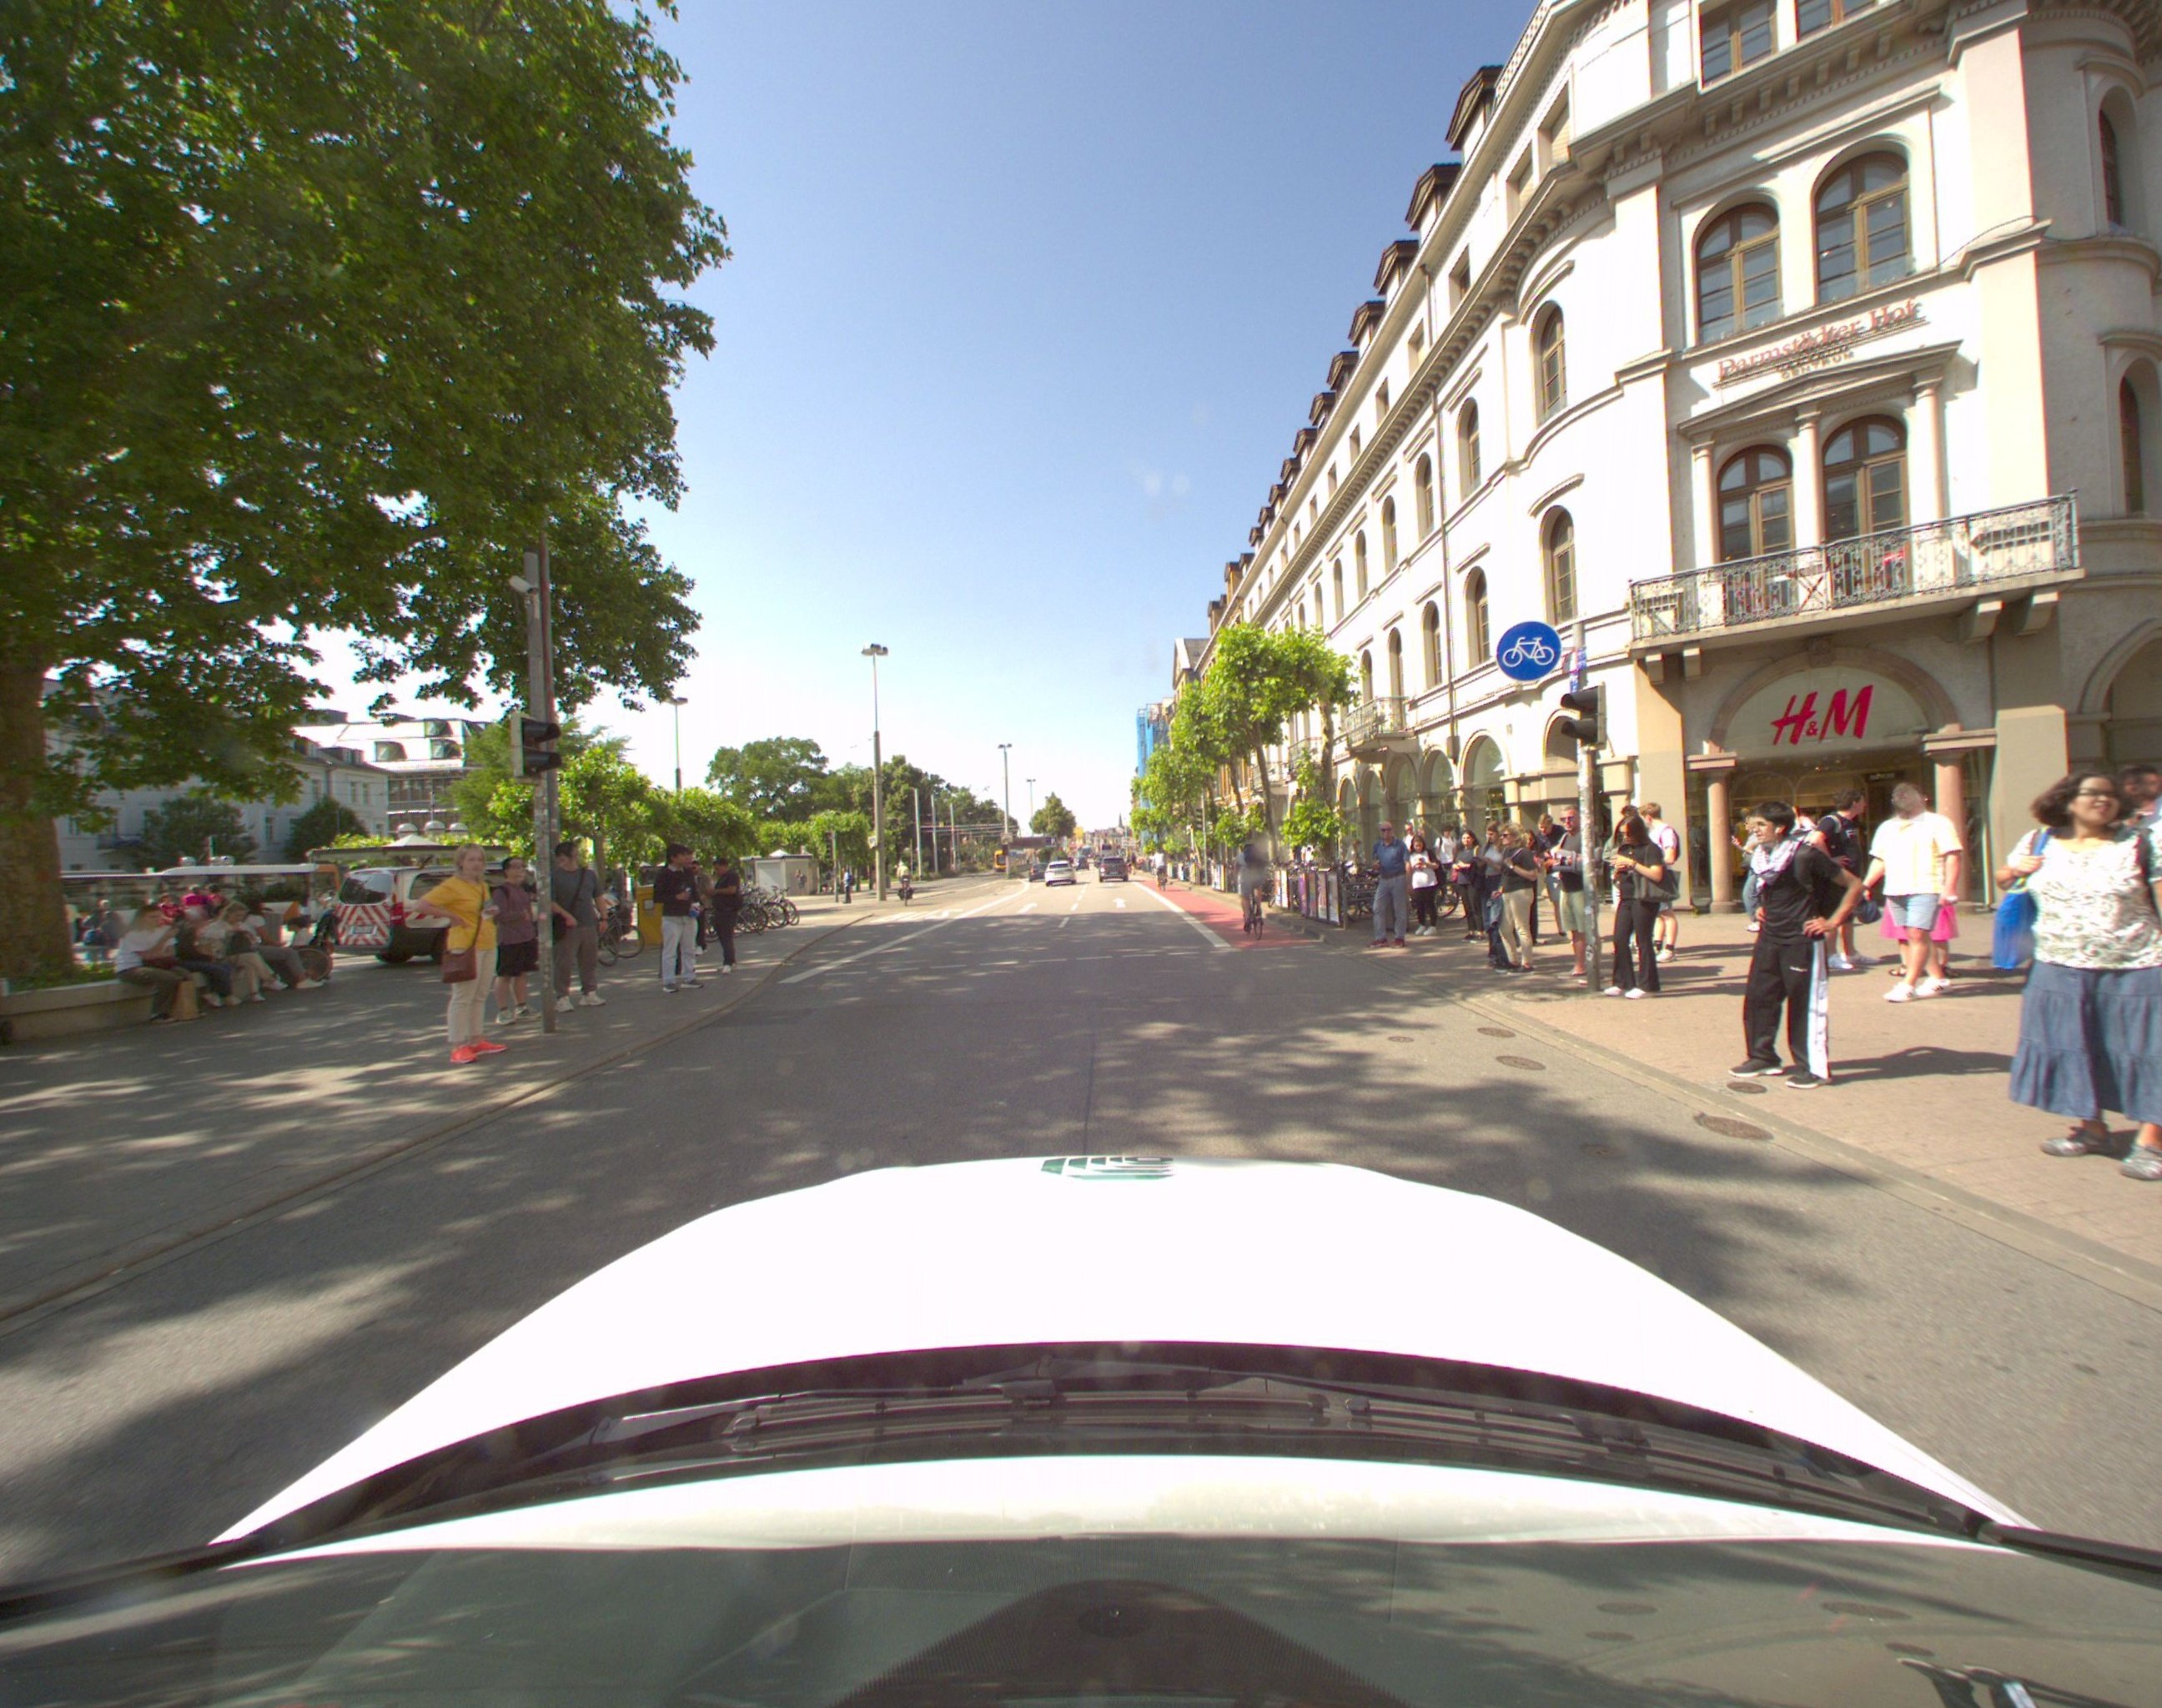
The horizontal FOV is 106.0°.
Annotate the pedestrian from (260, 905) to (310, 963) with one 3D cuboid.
[{"bbox_3d":[-22.098,2.198,22.613,0.603,1.514,0.745,-2,0,-5],"label":"pedestrian"}]

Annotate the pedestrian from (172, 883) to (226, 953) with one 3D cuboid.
[{"bbox_3d":[-22.964,1.657,21.209,0.586,1.736,0.740,-2,0,21],"label":"pedestrian"}]

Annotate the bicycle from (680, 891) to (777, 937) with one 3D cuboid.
[{"bbox_3d":[-8.793,1.489,20.372,2.082,0.980,0.682,-3,-1,-10],"label":"bicycle"}]

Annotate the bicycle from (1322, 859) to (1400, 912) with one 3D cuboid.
[{"bbox_3d":[5.789,0.650,16.871,1.415,0.980,0.401,-4,1,2],"label":"bicycle"}]

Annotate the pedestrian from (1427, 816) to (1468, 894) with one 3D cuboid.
[{"bbox_3d":[8.627,0.030,19.186,0.626,1.791,0.612,-2,-1,1],"label":"pedestrian"}]

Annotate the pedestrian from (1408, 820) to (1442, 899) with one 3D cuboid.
[{"bbox_3d":[7.994,0.119,18.955,0.475,1.791,0.612,-2,-1,1],"label":"pedestrian"}]

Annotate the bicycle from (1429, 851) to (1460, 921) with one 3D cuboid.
[{"bbox_3d":[6.423,0.541,14.425,0.396,1.114,1.433,-3,1,22],"label":"bicycle"}]

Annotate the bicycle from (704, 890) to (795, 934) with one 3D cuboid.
[{"bbox_3d":[-8.752,1.520,21.596,2.082,0.980,0.682,-3,-1,-10],"label":"bicycle"}]

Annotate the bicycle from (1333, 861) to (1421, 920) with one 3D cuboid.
[{"bbox_3d":[5.443,0.670,15.032,1.415,0.980,0.445,-4,1,2],"label":"bicycle"}]

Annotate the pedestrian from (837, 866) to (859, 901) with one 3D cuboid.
[{"bbox_3d":[-11.071,1.410,38.719,0.768,1.629,0.612,-2,-1,0],"label":"pedestrian"}]

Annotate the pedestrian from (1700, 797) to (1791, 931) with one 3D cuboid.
[{"bbox_3d":[9.091,0.137,11.164,0.608,1.763,0.677,-2,-1,-1],"label":"pedestrian"}]

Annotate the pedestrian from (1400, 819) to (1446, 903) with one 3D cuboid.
[{"bbox_3d":[7.501,0.149,17.890,0.673,1.791,0.612,-2,-1,1],"label":"pedestrian"}]

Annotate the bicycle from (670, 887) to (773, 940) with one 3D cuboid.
[{"bbox_3d":[-8.522,1.389,19.364,2.082,1.089,0.682,-3,-1,-10],"label":"bicycle"}]

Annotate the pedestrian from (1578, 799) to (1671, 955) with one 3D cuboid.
[{"bbox_3d":[6.612,0.272,9.938,0.608,1.807,0.677,-2,-1,-1],"label":"pedestrian"}]

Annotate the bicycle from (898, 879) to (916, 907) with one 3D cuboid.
[{"bbox_3d":[-7.145,1.573,33.366,0.677,1.026,1.959,-2,0,-12],"label":"bicycle"}]

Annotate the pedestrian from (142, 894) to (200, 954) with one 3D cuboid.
[{"bbox_3d":[-24.276,1.850,21.739,0.738,1.514,0.739,-2,0,15],"label":"pedestrian"}]

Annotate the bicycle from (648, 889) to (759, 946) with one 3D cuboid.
[{"bbox_3d":[-8.324,1.386,18.033,2.082,1.089,0.682,-3,-1,-10],"label":"bicycle"}]

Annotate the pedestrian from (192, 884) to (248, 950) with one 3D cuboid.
[{"bbox_3d":[-23.390,1.694,22.132,0.738,1.713,0.740,-2,0,17],"label":"pedestrian"}]

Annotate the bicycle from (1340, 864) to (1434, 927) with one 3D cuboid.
[{"bbox_3d":[5.327,0.710,14.211,1.415,0.980,0.445,-4,1,2],"label":"bicycle"}]

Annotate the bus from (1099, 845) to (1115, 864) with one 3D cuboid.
[{"bbox_3d":[5.359,0.106,169.295,2.984,3.594,11.745,-2,0,1],"label":"bus"}]

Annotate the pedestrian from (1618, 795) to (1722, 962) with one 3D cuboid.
[{"bbox_3d":[6.669,0.268,9.248,0.608,1.807,0.677,-2,-1,-1],"label":"pedestrian"}]

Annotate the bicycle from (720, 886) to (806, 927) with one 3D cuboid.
[{"bbox_3d":[-8.875,1.460,22.789,2.082,0.980,0.682,-3,-1,-10],"label":"bicycle"}]

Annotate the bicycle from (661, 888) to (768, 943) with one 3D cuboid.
[{"bbox_3d":[-8.386,1.391,18.710,2.082,1.089,0.682,-3,-1,-10],"label":"bicycle"}]

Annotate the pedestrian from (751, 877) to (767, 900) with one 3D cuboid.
[{"bbox_3d":[-19.811,2.119,50.100,0.651,1.336,0.713,-2,-1,3],"label":"pedestrian"}]

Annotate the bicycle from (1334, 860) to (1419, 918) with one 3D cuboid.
[{"bbox_3d":[5.608,0.660,15.490,1.415,0.980,0.445,-4,1,2],"label":"bicycle"}]

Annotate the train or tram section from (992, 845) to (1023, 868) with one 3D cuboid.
[{"bbox_3d":[-11.190,0.337,125.133,2.600,3.348,11.017,-2,0,5],"label":"train or tram section"}]

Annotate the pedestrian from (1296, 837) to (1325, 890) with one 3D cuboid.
[{"bbox_3d":[7.411,0.309,26.324,0.673,1.665,0.612,-2,-1,0],"label":"pedestrian"}]

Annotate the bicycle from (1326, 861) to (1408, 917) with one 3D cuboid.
[{"bbox_3d":[5.586,0.672,15.946,1.415,0.980,0.445,-4,1,2],"label":"bicycle"}]

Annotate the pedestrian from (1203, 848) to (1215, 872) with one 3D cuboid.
[{"bbox_3d":[8.756,0.390,55.627,0.673,1.572,0.612,-2,-1,0],"label":"pedestrian"}]

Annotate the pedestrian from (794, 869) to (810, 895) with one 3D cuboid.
[{"bbox_3d":[-18.541,1.857,54.056,0.704,1.707,0.658,-3,-1,17],"label":"pedestrian"}]

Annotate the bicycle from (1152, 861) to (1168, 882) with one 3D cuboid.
[{"bbox_3d":[4.153,0.911,43.026,0.645,0.998,2.031,-2,0,1],"label":"bicycle"}]

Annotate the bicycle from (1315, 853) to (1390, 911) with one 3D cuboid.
[{"bbox_3d":[5.760,0.585,17.299,1.415,1.114,0.401,-4,1,2],"label":"bicycle"}]

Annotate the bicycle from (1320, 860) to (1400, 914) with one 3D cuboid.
[{"bbox_3d":[5.621,0.660,16.439,1.415,0.980,0.445,-4,1,2],"label":"bicycle"}]

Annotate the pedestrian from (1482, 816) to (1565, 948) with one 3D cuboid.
[{"bbox_3d":[6.006,0.366,11.072,0.613,1.705,0.672,-3,0,-27],"label":"pedestrian"}]

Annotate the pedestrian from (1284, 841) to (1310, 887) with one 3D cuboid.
[{"bbox_3d":[7.546,0.350,28.440,0.673,1.572,0.612,-2,-1,0],"label":"pedestrian"}]

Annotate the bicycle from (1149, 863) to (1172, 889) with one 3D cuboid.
[{"bbox_3d":[3.383,0.925,34.712,0.771,1.006,2.330,-3,0,2],"label":"bicycle"}]

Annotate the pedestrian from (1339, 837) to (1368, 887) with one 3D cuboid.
[{"bbox_3d":[8.930,0.261,26.723,0.673,1.572,0.612,-2,-1,0],"label":"pedestrian"}]

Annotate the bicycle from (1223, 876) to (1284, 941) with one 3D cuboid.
[{"bbox_3d":[3.019,0.932,14.443,0.628,0.980,2.089,-2,0,1],"label":"bicycle"}]
